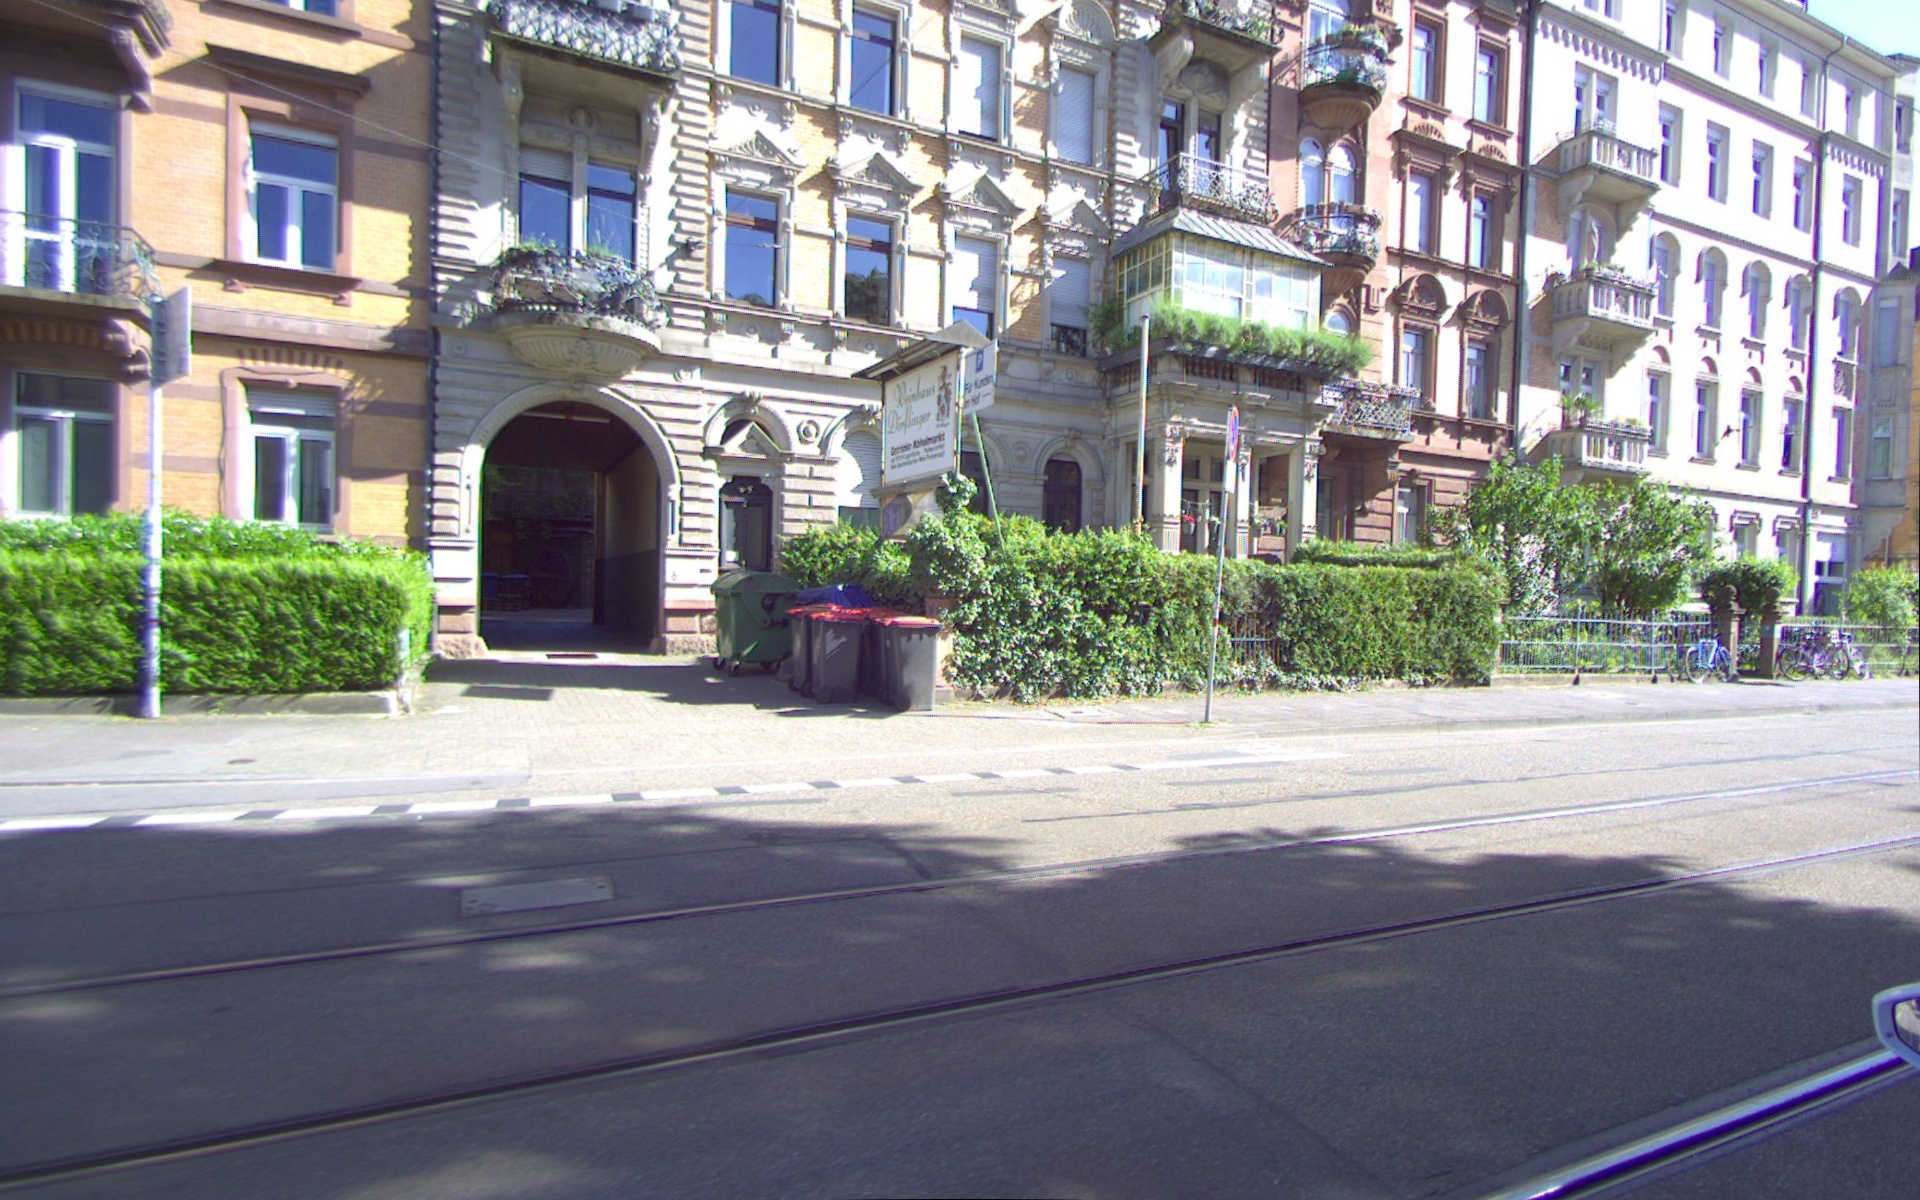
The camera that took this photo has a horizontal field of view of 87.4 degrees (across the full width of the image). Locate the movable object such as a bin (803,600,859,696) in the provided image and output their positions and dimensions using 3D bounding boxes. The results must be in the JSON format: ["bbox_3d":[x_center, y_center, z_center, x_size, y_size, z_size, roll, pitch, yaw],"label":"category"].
[{"bbox_3d":[-1.561,0.572,12.127,0.534,1.100,0.478,1,3,-24],"label":"movable object such as a bin"}]

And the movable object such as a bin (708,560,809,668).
[{"bbox_3d":[-2.945,0.186,14.594,1.154,1.467,1.315,1,2,-24],"label":"movable object such as a bin"}]

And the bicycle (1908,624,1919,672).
[{"bbox_3d":[23.127,1.164,23.933,0.556,1.047,1.759,7,6,39],"label":"bicycle"}]

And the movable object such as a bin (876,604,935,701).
[{"bbox_3d":[-0.651,0.613,11.878,0.534,1.100,0.478,1,3,-24],"label":"movable object such as a bin"}]

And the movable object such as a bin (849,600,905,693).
[{"bbox_3d":[-1.032,0.562,12.397,0.534,1.100,0.478,1,3,-24],"label":"movable object such as a bin"}]

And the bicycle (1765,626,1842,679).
[{"bbox_3d":[17.830,1.094,21.222,1.745,1.047,0.561,1,3,-27],"label":"bicycle"}]

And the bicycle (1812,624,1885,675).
[{"bbox_3d":[19.586,1.084,22.144,1.745,1.047,0.561,1,3,-27],"label":"bicycle"}]

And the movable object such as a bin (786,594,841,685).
[{"bbox_3d":[-1.841,0.490,12.599,0.534,1.100,0.478,1,3,-24],"label":"movable object such as a bin"}]

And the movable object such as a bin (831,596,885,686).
[{"bbox_3d":[-1.312,0.512,12.843,0.534,1.100,0.478,1,3,-24],"label":"movable object such as a bin"}]

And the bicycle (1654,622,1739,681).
[{"bbox_3d":[14.436,0.990,19.677,1.744,1.047,0.561,0,3,-26],"label":"bicycle"}]

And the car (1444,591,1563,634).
[{"bbox_3d":[24.598,0.535,45.649,1.939,1.666,4.435,2,2,-23],"label":"car"}]

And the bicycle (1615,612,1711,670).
[{"bbox_3d":[14.932,0.857,21.385,0.473,1.047,1.569,1,5,-26],"label":"bicycle"}]
